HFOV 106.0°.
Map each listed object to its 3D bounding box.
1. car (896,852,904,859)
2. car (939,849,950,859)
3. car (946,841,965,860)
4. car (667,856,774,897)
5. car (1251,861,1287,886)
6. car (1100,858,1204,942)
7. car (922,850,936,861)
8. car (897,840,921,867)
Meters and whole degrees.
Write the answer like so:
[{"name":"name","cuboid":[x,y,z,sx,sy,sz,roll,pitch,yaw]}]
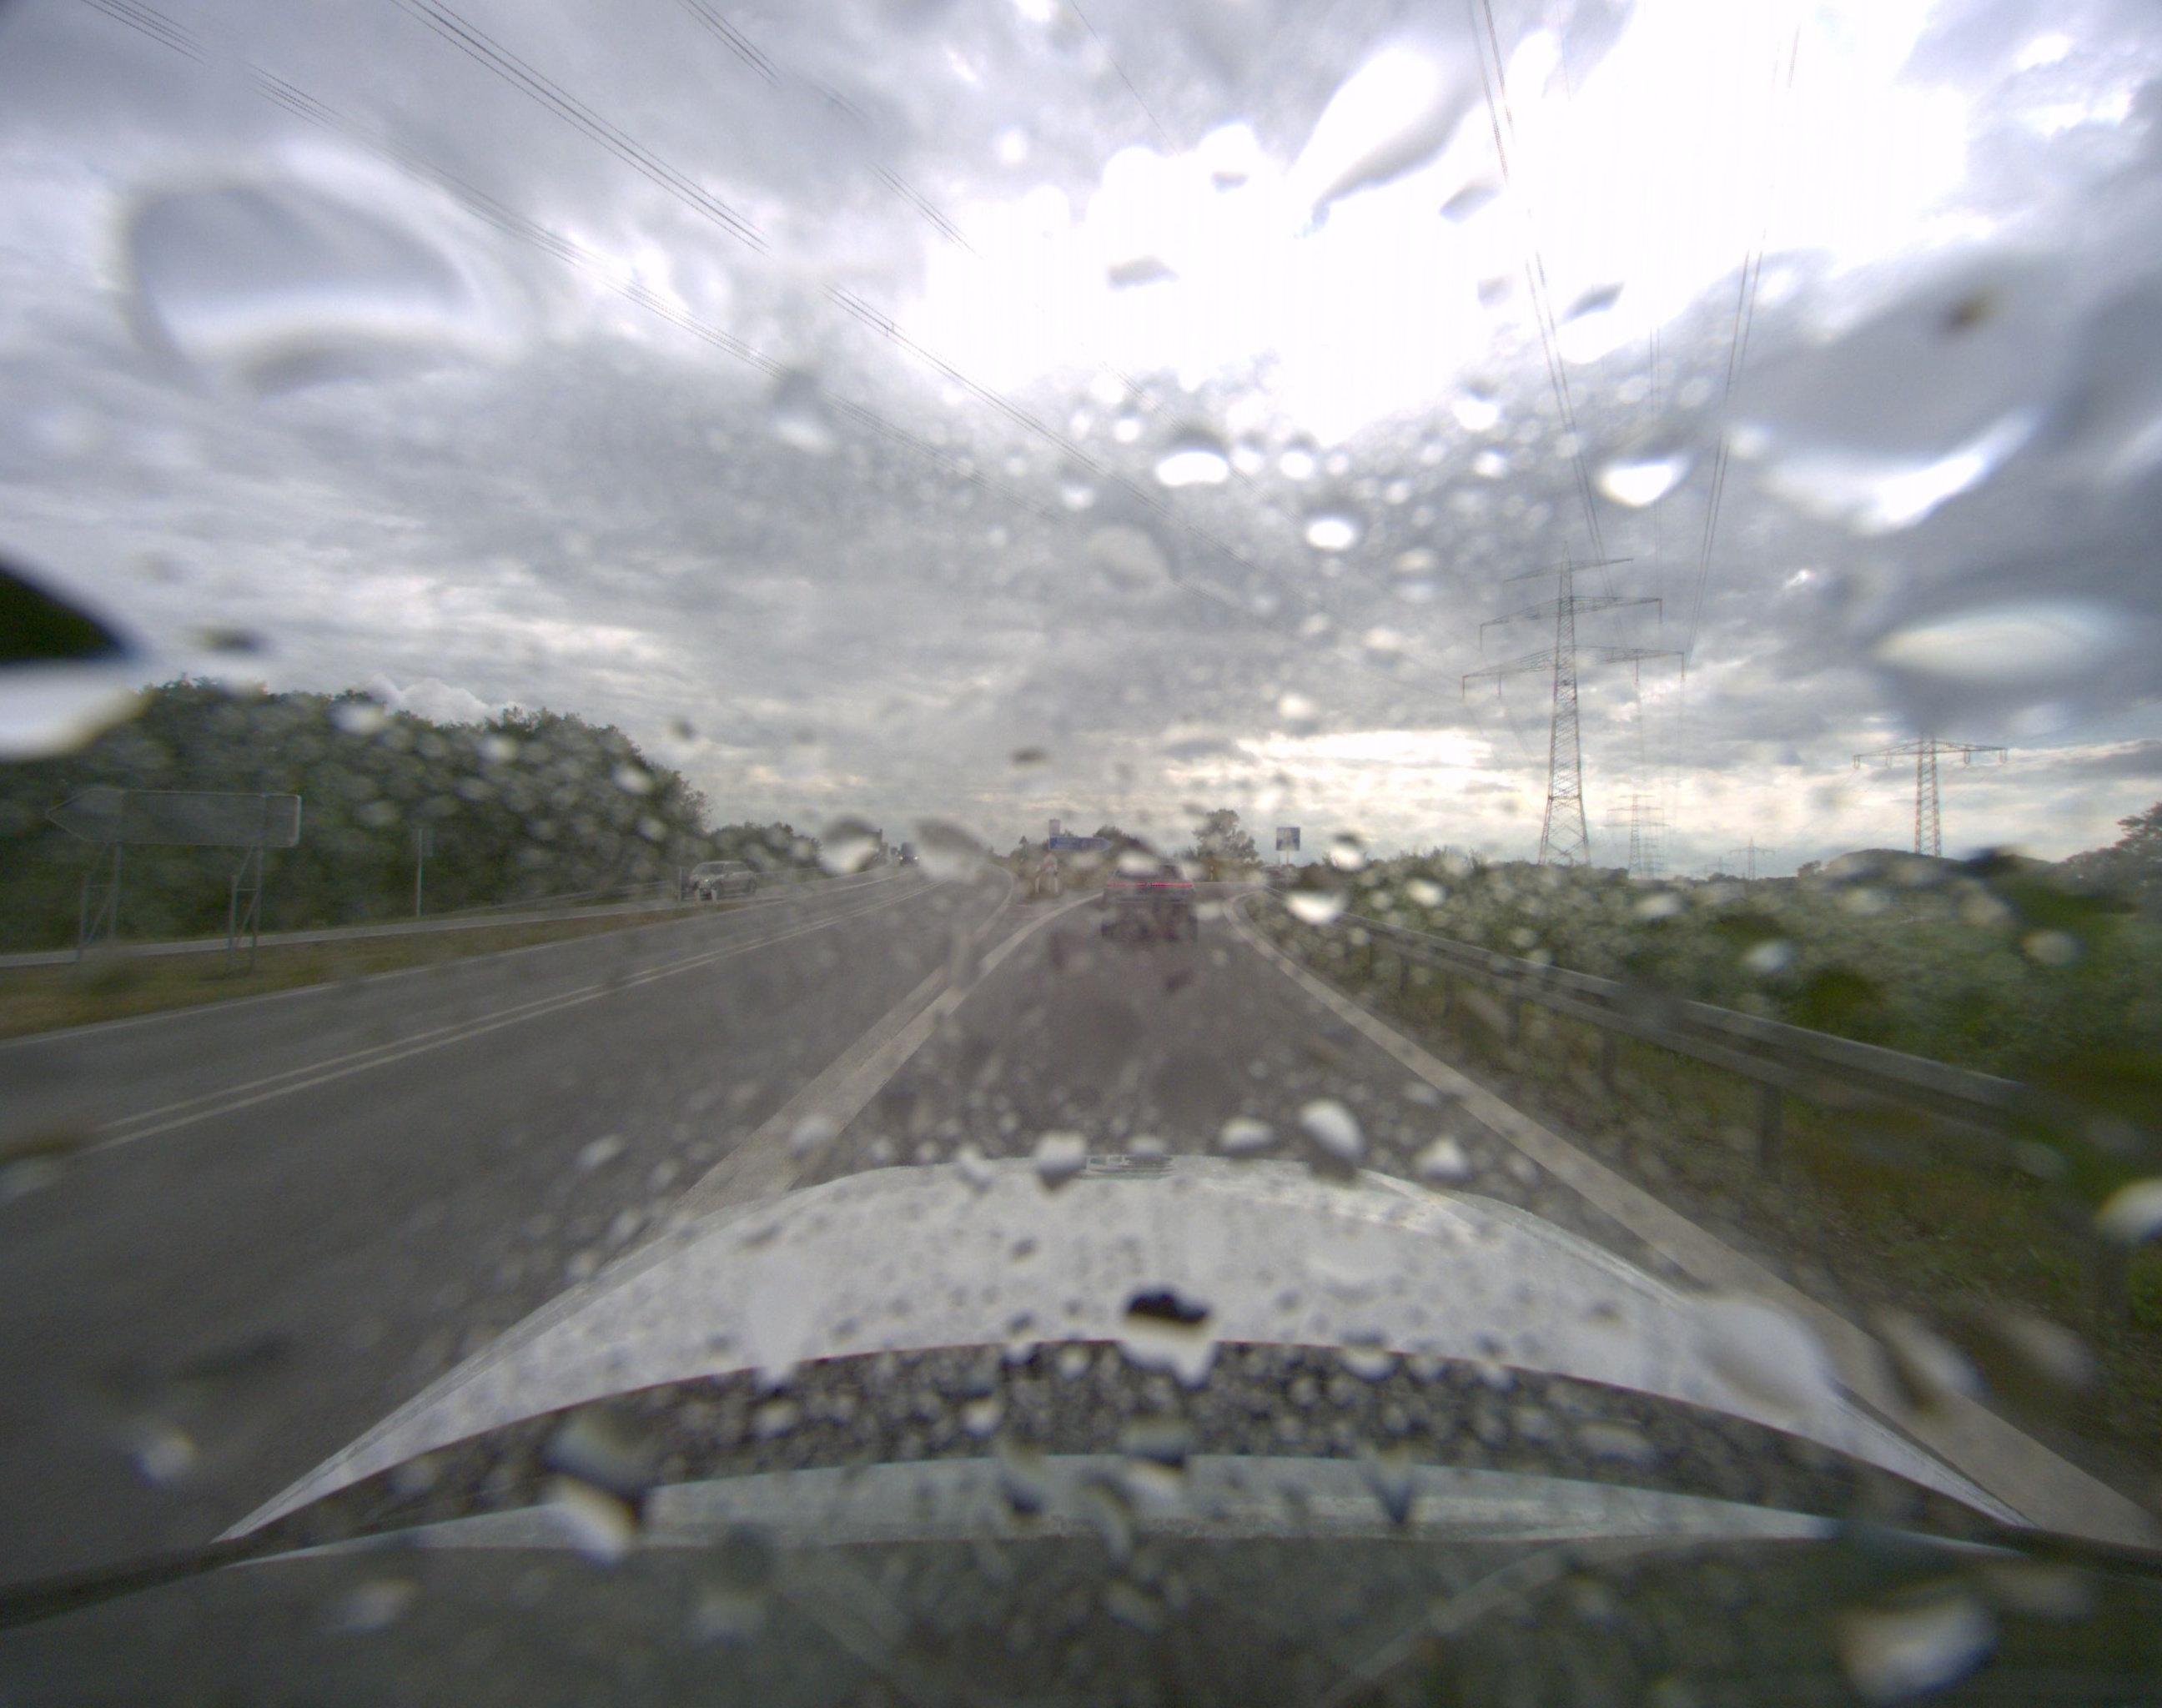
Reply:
[{"name":"car","cuboid":[-36.462,0.271,163.898,1.655,1.447,3.371,1,-1,-13]},{"name":"car","cuboid":[-22.783,0.024,135.923,1.792,1.687,3.984,0,0,-11]},{"name":"car","cuboid":[-18.249,-0.517,118.211,2.573,2.725,7.170,1,0,-10]},{"name":"car","cuboid":[-14.016,0.856,31.902,1.733,1.365,4.062,-5,-2,11]},{"name":"car","cuboid":[12.268,1.273,53.062,1.777,1.441,4.019,2,-2,20]},{"name":"car","cuboid":[1.366,0.843,16.058,1.783,1.441,4.004,0,-1,4]},{"name":"car","cuboid":[-21.315,0.223,113.911,1.746,1.365,4.033,1,1,-13]},{"name":"car","cuboid":[-18.650,-0.045,88.518,2.353,2.701,6.966,1,0,-11]}]
